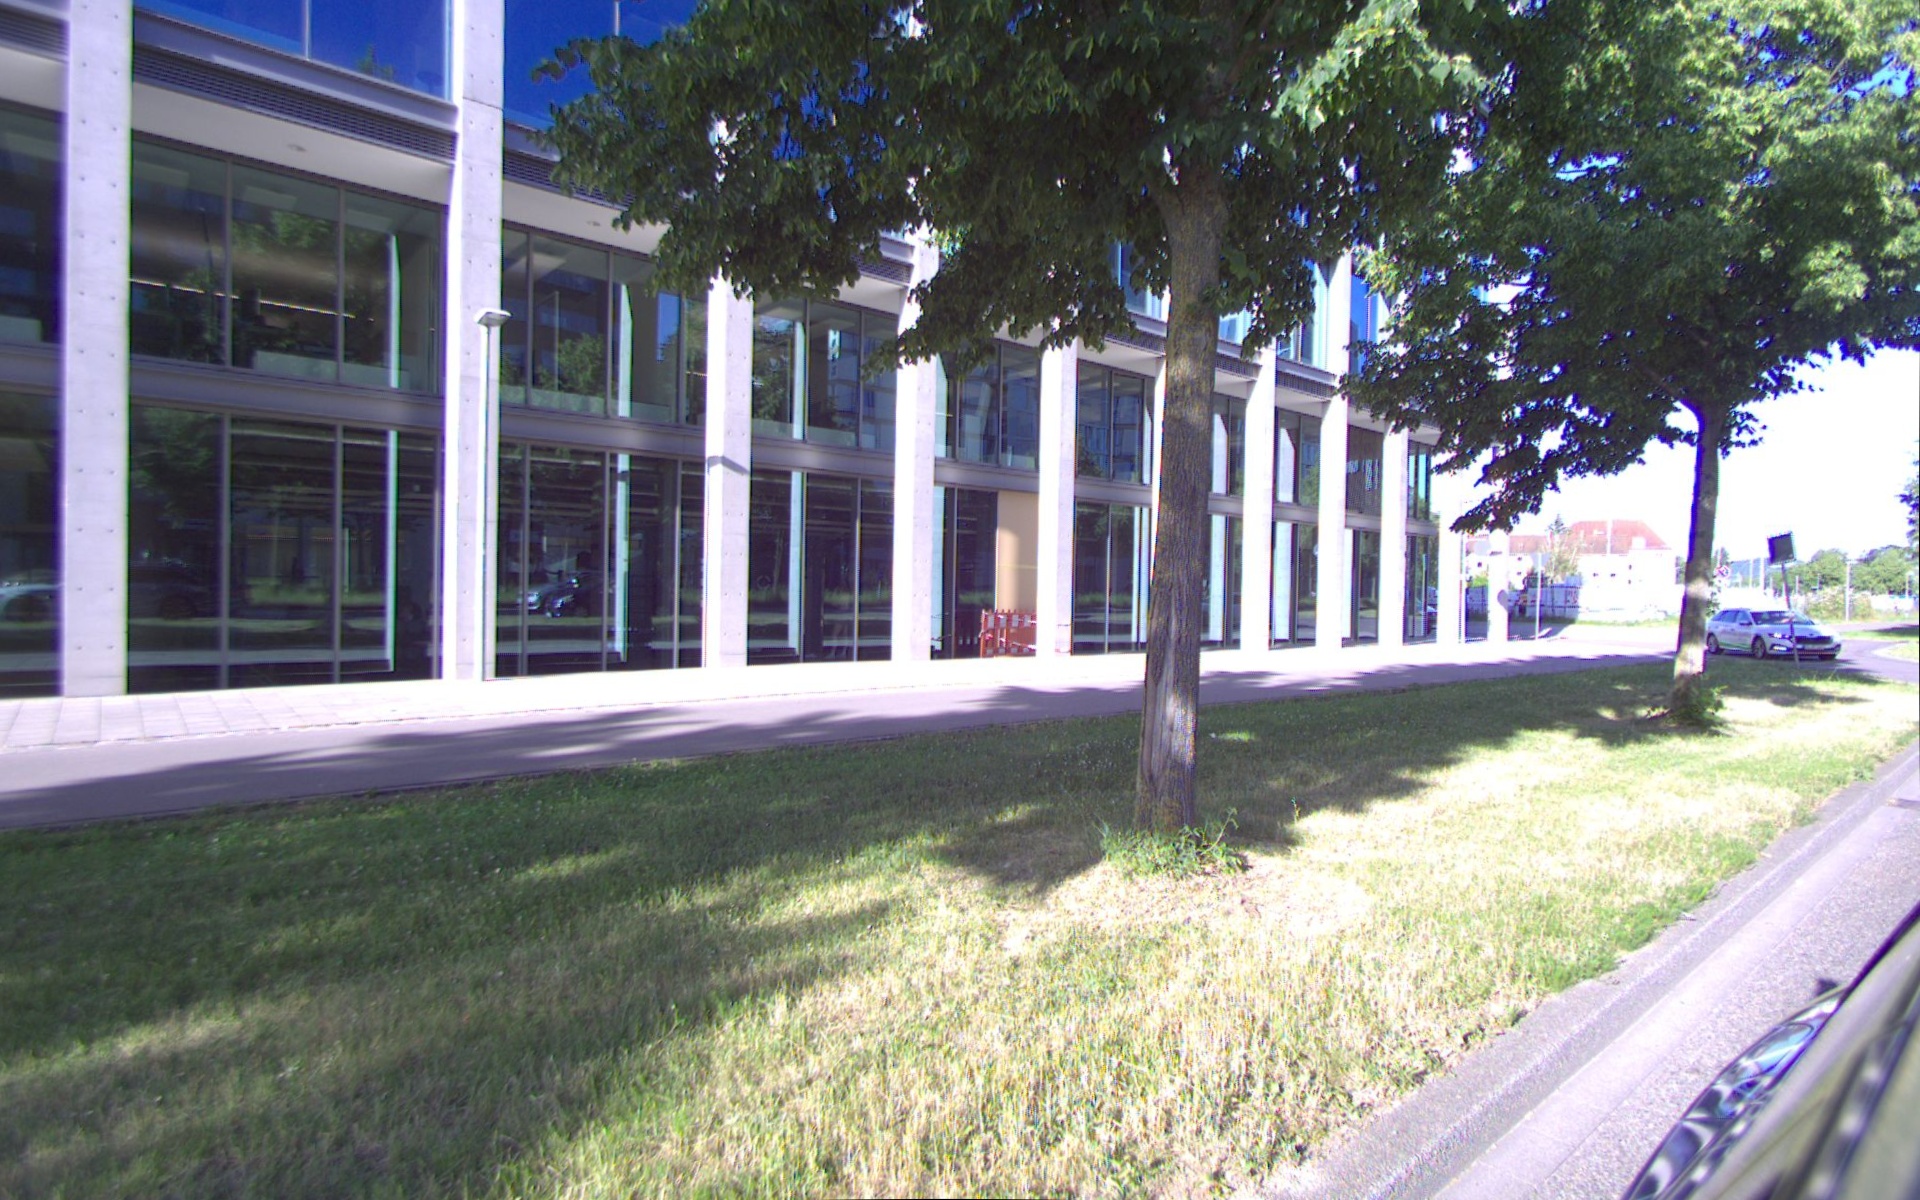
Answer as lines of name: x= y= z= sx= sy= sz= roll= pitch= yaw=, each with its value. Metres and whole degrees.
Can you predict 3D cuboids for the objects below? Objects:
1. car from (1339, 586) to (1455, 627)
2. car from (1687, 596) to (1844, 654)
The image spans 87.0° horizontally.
car: x=18.274 y=0.233 z=42.443 sx=1.963 sy=1.598 sz=3.998 roll=0 pitch=1 yaw=-38
car: x=23.453 y=0.660 z=29.708 sx=1.778 sy=1.465 sz=4.551 roll=1 pitch=1 yaw=13
